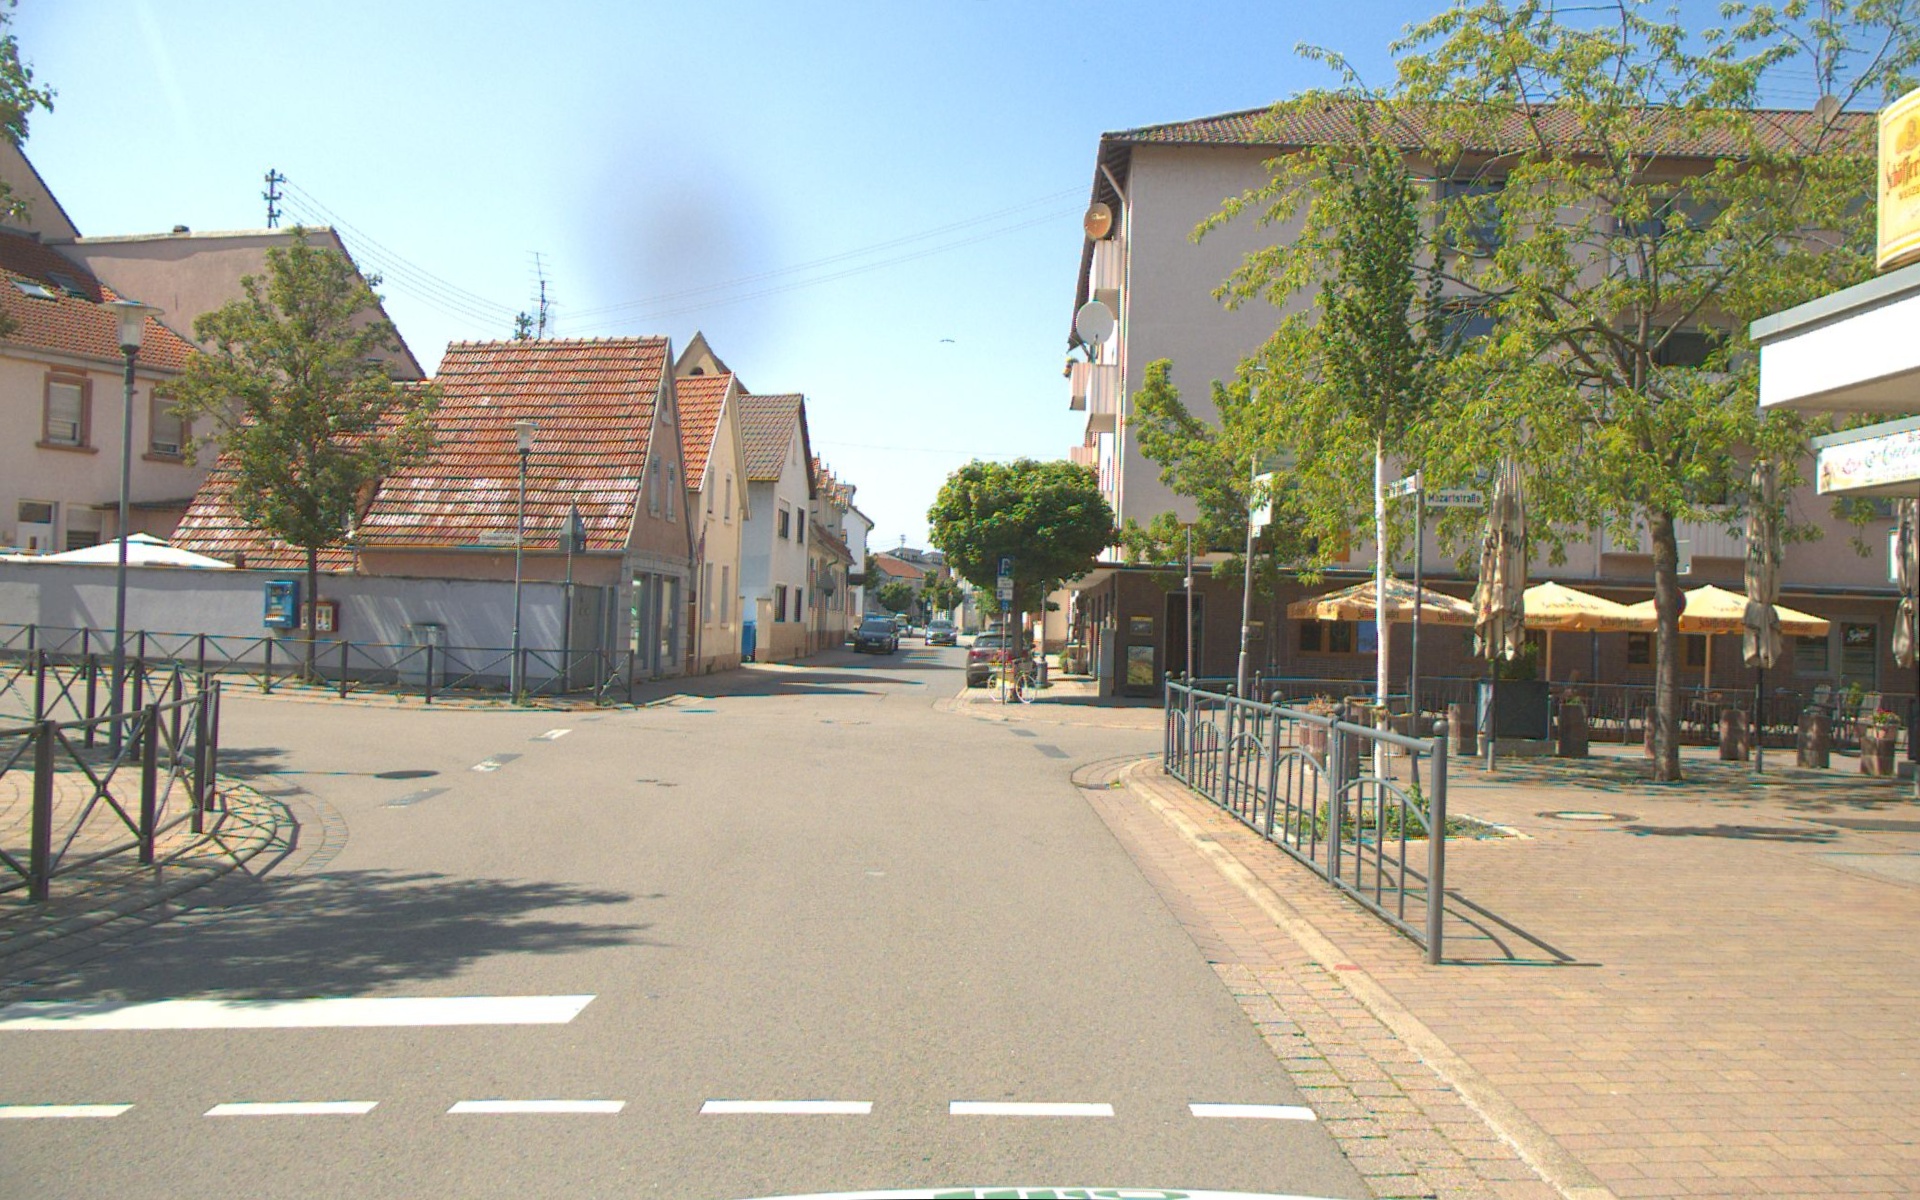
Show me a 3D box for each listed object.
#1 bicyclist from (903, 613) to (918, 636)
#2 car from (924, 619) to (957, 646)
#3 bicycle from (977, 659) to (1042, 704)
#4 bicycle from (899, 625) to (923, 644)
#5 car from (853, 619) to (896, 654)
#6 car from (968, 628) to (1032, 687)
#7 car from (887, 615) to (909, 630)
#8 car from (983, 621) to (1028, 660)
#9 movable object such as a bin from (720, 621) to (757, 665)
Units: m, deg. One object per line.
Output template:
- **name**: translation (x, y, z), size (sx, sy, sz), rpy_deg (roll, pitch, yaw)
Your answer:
- **bicyclist**: translation (-3.659, 1.795, 121.725), size (1.026, 1.666, 1.127), rpy_deg (1, -1, -4)
- **car**: translation (-1.112, 1.898, 96.141), size (1.870, 1.507, 4.843), rpy_deg (1, -2, 0)
- **bicycle**: translation (1.048, 1.718, 35.159), size (1.387, 0.913, 0.463), rpy_deg (0, -1, 38)
- **bicycle**: translation (-3.628, 2.523, 121.706), size (1.592, 1.395, 3.922), rpy_deg (1, -1, -5)
- **car**: translation (-3.836, 1.656, 74.932), size (1.629, 1.502, 4.134), rpy_deg (1, -1, 1)
- **car**: translation (1.084, 1.493, 43.793), size (1.543, 1.479, 3.487), rpy_deg (1, -1, 3)
- **car**: translation (-6.982, 2.538, 187.551), size (1.984, 1.626, 4.511), rpy_deg (1, -1, 4)
- **car**: translation (2.134, 1.864, 77.649), size (2.000, 1.718, 4.842), rpy_deg (1, -1, 1)
- **movable object such as a bin**: translation (-7.169, 1.382, 53.585), size (1.078, 1.389, 0.390), rpy_deg (1, -1, 5)
